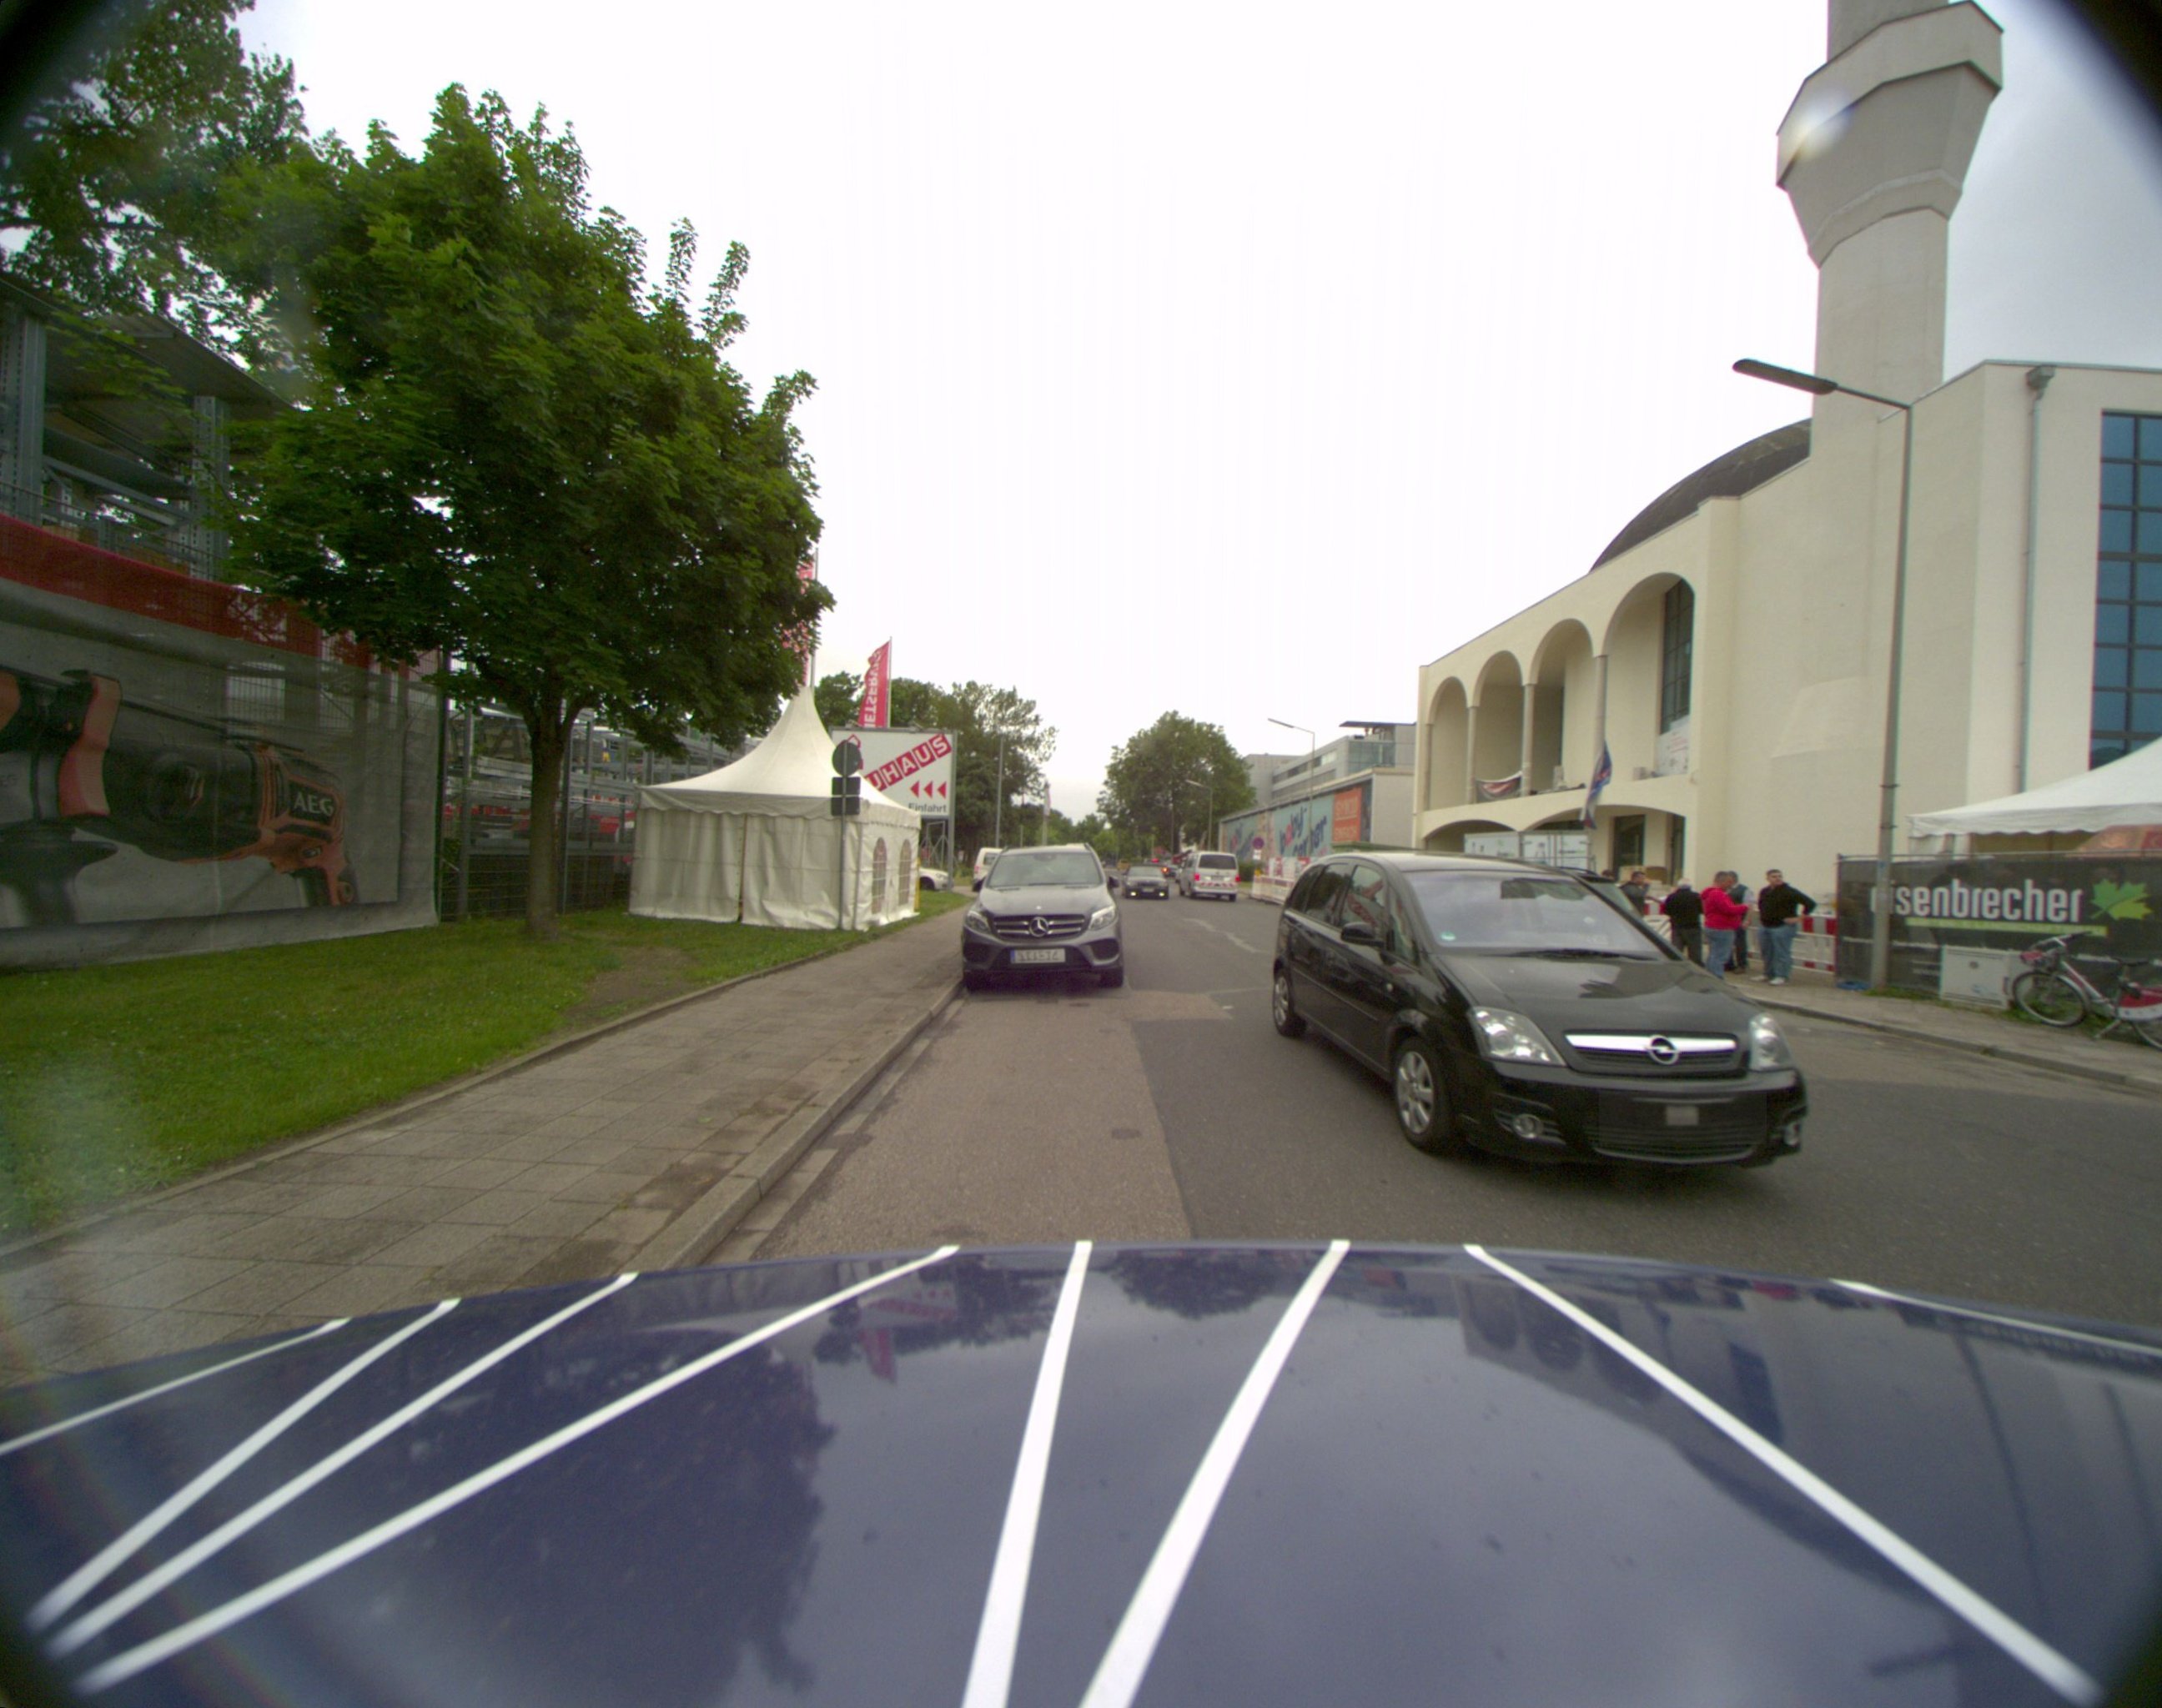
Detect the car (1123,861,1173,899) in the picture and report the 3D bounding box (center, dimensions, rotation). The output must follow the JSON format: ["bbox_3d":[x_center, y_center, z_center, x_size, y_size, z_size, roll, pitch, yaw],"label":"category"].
[{"bbox_3d":[2.675,1.018,31.142,1.750,1.351,4.137,0,1,1],"label":"car"}]

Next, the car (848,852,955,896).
[{"bbox_3d":[-6.703,0.729,28.650,3.689,1.575,1.776,0,0,-6],"label":"car"}]

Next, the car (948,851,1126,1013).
[{"bbox_3d":[-0.435,0.850,10.521,1.913,1.731,4.480,-1,0,1],"label":"car"}]

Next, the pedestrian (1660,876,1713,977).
[{"bbox_3d":[10.066,1.178,12.636,0.492,1.602,0.570,1,1,-44],"label":"pedestrian"}]

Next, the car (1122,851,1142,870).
[{"bbox_3d":[5.568,0.655,83.379,1.998,2.002,4.000,0,1,1],"label":"car"}]

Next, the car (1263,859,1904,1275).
[{"bbox_3d":[2.502,0.887,4.988,1.685,1.622,3.759,2,0,0],"label":"car"}]

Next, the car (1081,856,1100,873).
[{"bbox_3d":[1.026,1.164,83.203,1.998,1.739,4.000,2,0,1],"label":"car"}]

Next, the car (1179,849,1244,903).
[{"bbox_3d":[5.438,0.845,32.304,1.931,2.002,4.955,2,1,1],"label":"car"}]

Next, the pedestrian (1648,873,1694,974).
[{"bbox_3d":[10.569,1.218,13.602,0.492,1.739,0.527,1,1,-44],"label":"pedestrian"}]

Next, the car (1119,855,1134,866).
[{"bbox_3d":[6.790,0.928,113.285,1.929,1.565,4.000,3,0,1],"label":"car"}]

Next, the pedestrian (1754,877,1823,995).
[{"bbox_3d":[10.748,1.214,11.544,0.694,1.707,0.689,-3,-2,45],"label":"pedestrian"}]

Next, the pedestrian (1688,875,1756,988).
[{"bbox_3d":[9.511,1.138,11.275,0.492,1.602,0.539,3,1,-28],"label":"pedestrian"}]

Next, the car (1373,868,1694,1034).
[{"bbox_3d":[5.370,1.031,9.718,1.733,1.562,3.946,2,0,1],"label":"car"}]

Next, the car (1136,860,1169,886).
[{"bbox_3d":[5.270,1.376,56.451,1.964,1.652,4.654,4,0,1],"label":"car"}]

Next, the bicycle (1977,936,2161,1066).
[{"bbox_3d":[10.907,1.530,8.116,0.545,1.071,1.902,2,1,7],"label":"bicycle"}]

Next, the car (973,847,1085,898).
[{"bbox_3d":[-2.108,0.748,31.634,4.380,1.797,1.800,4,0,-1],"label":"car"}]

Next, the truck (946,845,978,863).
[{"bbox_3d":[-16.496,0.055,105.463,1.994,2.382,4.009,2,0,40],"label":"truck"}]

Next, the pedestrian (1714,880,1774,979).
[{"bbox_3d":[11.096,1.245,12.719,0.540,1.602,0.490,0,1,-3],"label":"pedestrian"}]

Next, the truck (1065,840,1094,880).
[{"bbox_3d":[-0.105,0.396,53.118,1.853,2.597,4.000,-1,0,0],"label":"truck"}]

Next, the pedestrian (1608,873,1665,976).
[{"bbox_3d":[9.812,1.217,13.426,0.492,1.739,0.689,1,1,-44],"label":"pedestrian"}]

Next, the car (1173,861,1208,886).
[{"bbox_3d":[8.040,1.388,56.047,1.929,1.565,4.149,5,0,1],"label":"car"}]

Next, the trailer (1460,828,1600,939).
[{"bbox_3d":[11.587,0.701,19.858,1.802,2.591,3.192,2,0,3],"label":"trailer"}]

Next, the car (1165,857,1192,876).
[{"bbox_3d":[9.191,1.177,71.913,1.929,1.565,4.149,5,0,1],"label":"car"}]

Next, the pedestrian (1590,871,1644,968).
[{"bbox_3d":[10.075,1.209,14.282,0.492,1.739,0.689,1,1,-44],"label":"pedestrian"}]
